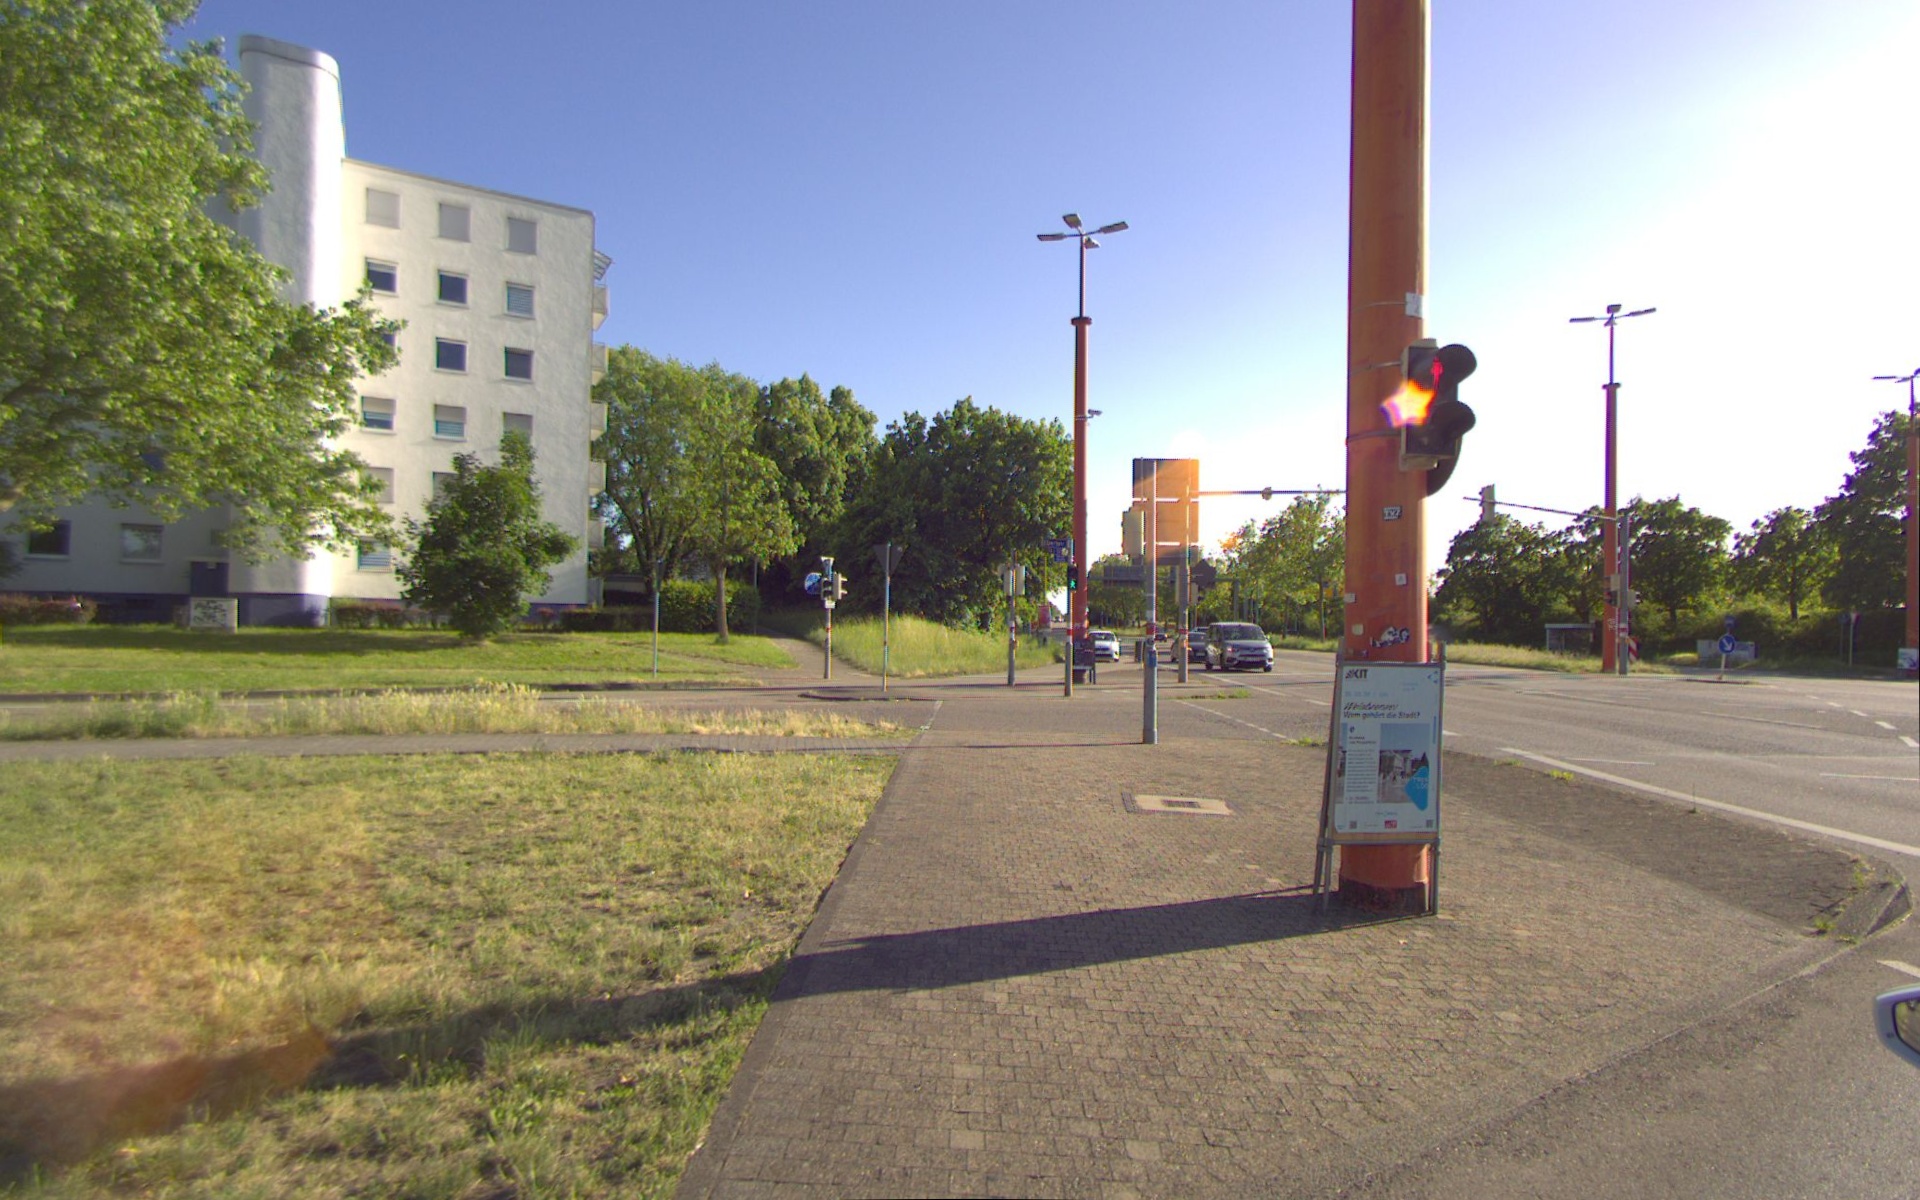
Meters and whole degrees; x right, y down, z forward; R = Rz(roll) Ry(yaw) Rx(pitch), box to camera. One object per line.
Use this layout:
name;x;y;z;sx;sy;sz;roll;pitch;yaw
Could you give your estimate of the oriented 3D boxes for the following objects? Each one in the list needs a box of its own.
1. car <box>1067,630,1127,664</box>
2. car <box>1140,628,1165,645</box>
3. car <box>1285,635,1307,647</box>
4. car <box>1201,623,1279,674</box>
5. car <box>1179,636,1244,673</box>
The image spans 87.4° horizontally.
car;6.703;2.283;49.464;1.869;1.571;4.255;0;-2;-8
car;19.275;3.650;100.664;1.866;1.586;4.567;-1;-2;3
car;44.084;5.420;131.987;1.737;1.483;4.368;1;-1;5
car;10.419;1.776;37.698;1.866;1.798;4.449;-1;-2;3
car;10.870;2.339;43.736;1.866;1.494;4.567;-1;-2;3
